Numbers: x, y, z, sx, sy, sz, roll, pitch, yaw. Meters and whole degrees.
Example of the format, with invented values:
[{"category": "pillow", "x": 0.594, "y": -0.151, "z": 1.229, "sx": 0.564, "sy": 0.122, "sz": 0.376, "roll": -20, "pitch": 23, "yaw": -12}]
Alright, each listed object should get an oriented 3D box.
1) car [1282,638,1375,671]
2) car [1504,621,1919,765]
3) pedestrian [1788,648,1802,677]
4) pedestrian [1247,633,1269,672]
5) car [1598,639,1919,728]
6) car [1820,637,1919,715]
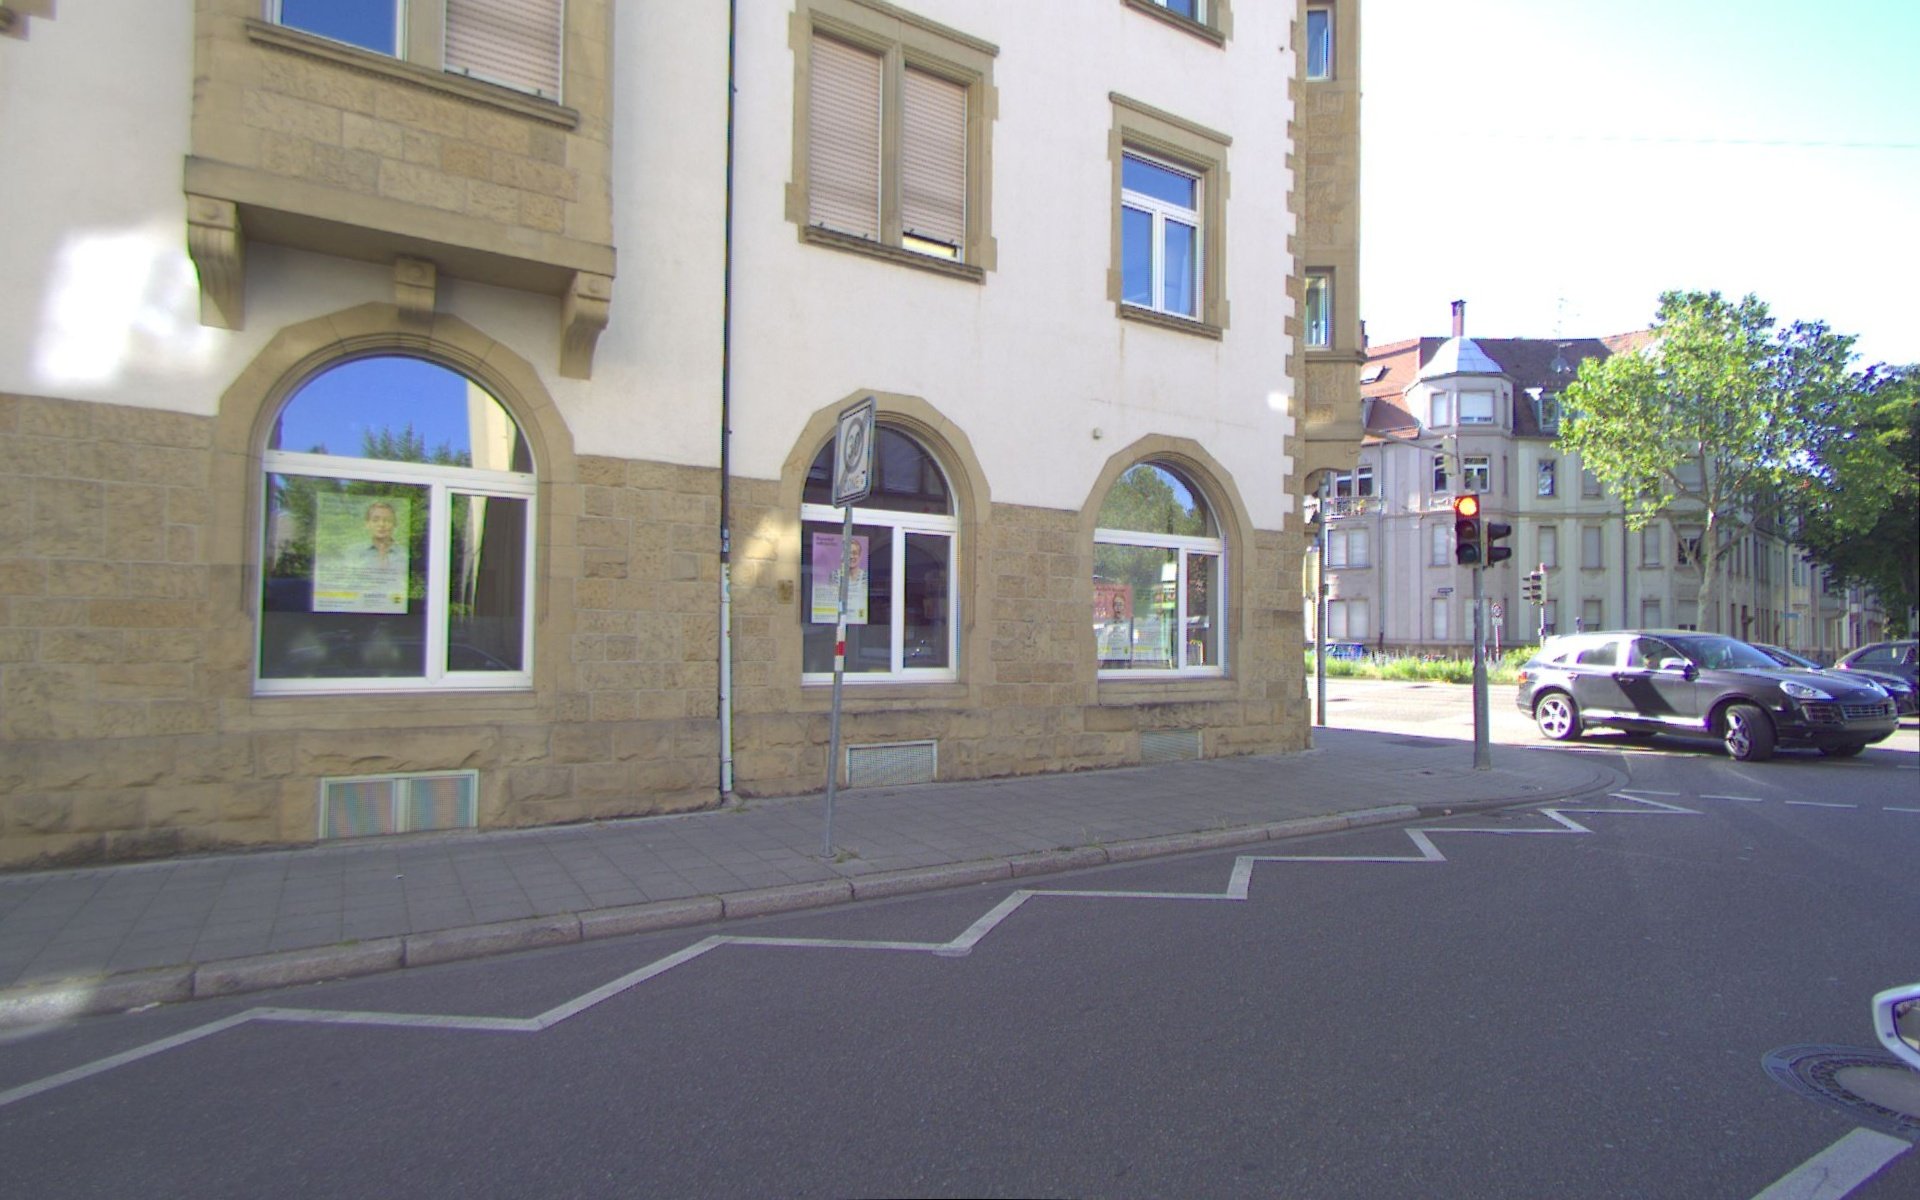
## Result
[{"category": "car", "x": 17.035, "y": 2.495, "z": 46.545, "sx": 3.738, "sy": 1.419, "sz": 1.637, "roll": -1, "pitch": -2, "yaw": 42}, {"category": "car", "x": 10.582, "y": 1.232, "z": 14.514, "sx": 2.046, "sy": 1.716, "sz": 4.693, "roll": 0, "pitch": -3, "yaw": -17}, {"category": "pedestrian", "x": 43.124, "y": 3.208, "z": 51.876, "sx": 0.483, "sy": 1.461, "sz": 0.701, "roll": 2, "pitch": 0, "yaw": 45}, {"category": "pedestrian", "x": 15.990, "y": 2.826, "z": 53.930, "sx": 0.826, "sy": 2.040, "sz": 0.748, "roll": 2, "pitch": 0, "yaw": 44}, {"category": "car", "x": 14.933, "y": 1.509, "z": 18.979, "sx": 1.719, "sy": 1.475, "sz": 4.573, "roll": 2, "pitch": -4, "yaw": -44}, {"category": "car", "x": 19.513, "y": 1.443, "z": 19.099, "sx": 1.967, "sy": 1.475, "sz": 4.576, "roll": 2, "pitch": -3, "yaw": -42}]
